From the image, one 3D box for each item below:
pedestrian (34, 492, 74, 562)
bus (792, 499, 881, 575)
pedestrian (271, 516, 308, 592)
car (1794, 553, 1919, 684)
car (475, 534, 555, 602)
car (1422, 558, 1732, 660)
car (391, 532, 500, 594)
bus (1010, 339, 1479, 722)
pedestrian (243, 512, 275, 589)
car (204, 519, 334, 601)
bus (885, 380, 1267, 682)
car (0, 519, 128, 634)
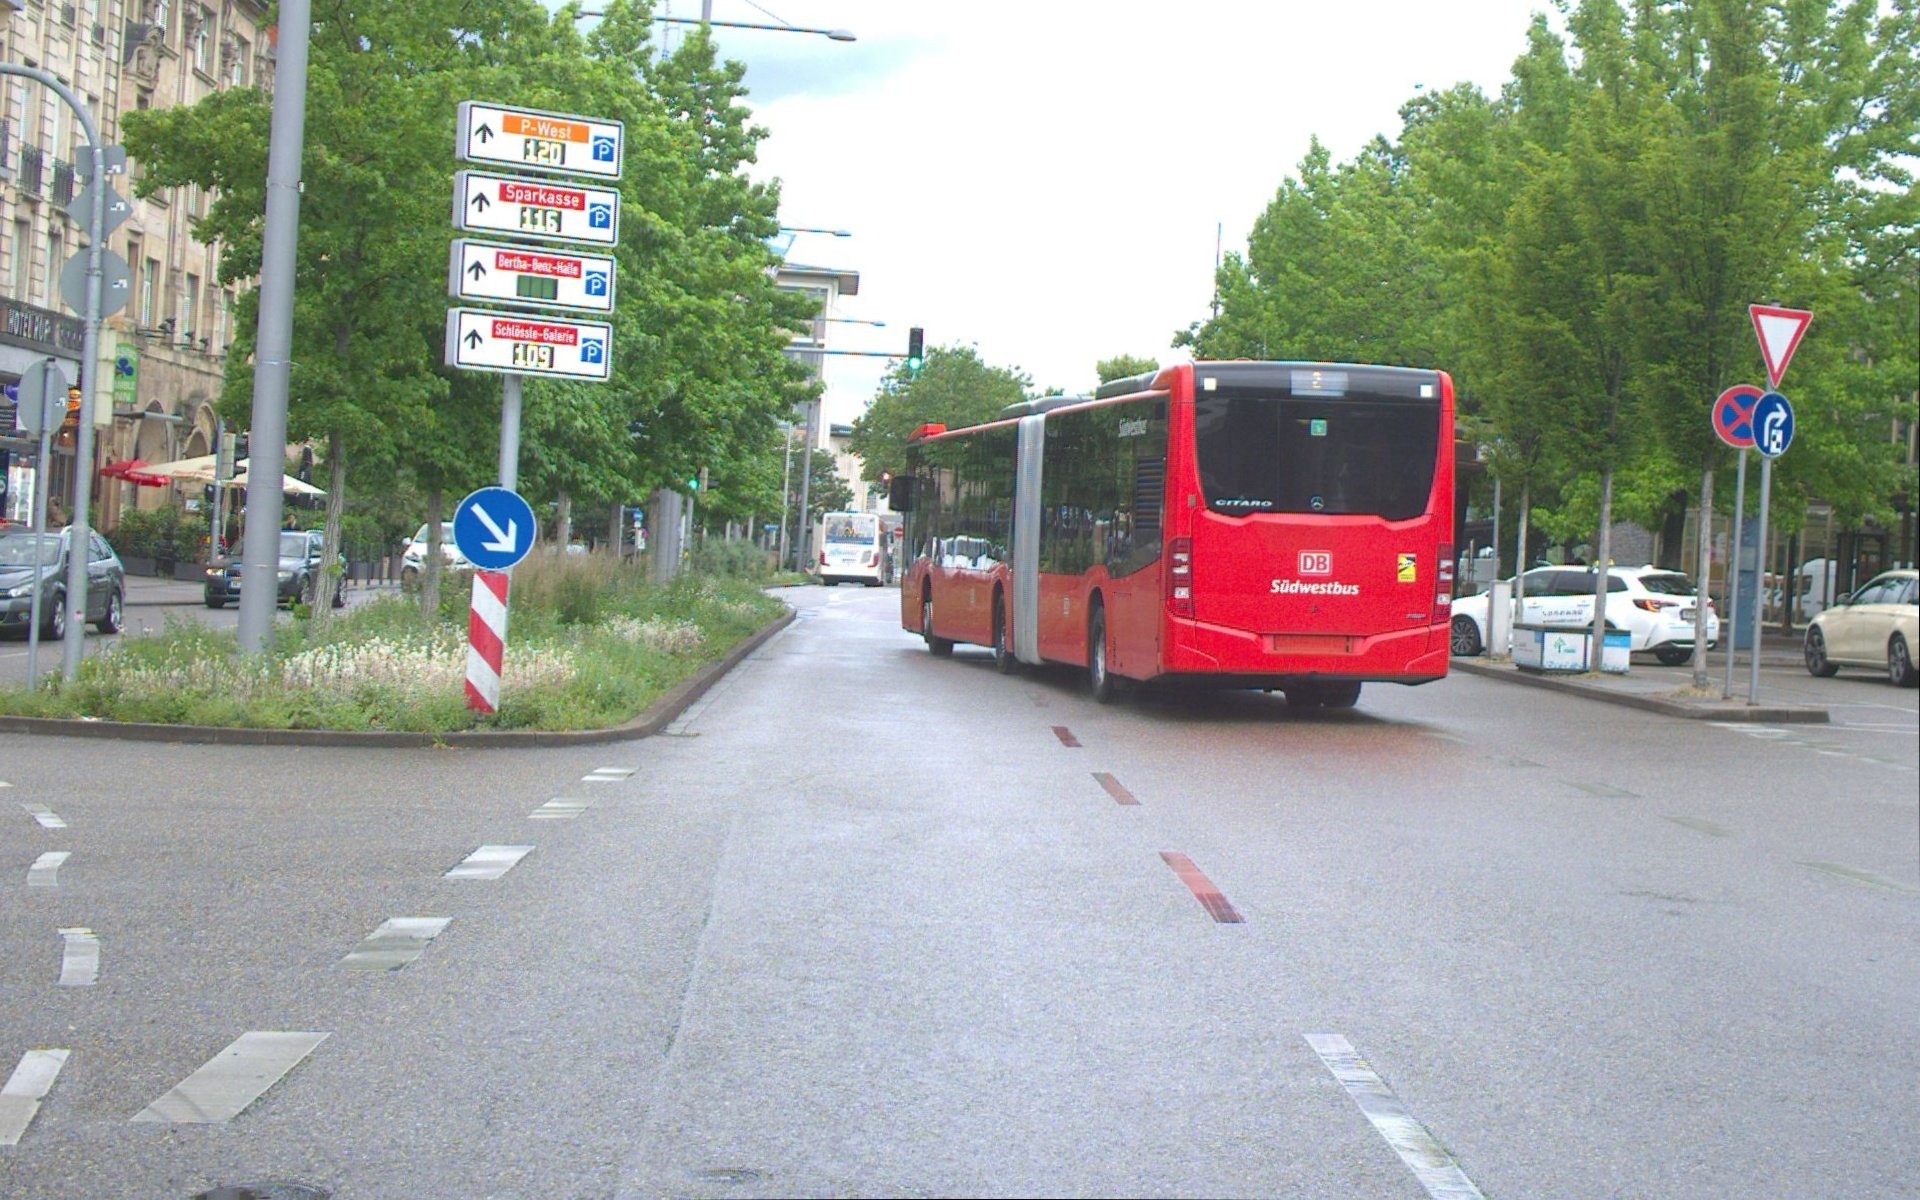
[{"bbox_3d":[-19.674,-1.593,74.626,0.661,1.505,0.519,1,1,-38],"label":"pedestrian"},{"bbox_3d":[-5.578,-2.856,155.863,3.760,3.198,15.527,1,1,-2],"label":"bus"},{"bbox_3d":[-15.142,-1.046,77.616,0.674,1.696,0.634,2,1,-1],"label":"pedestrian"},{"bbox_3d":[12.620,0.228,44.296,1.993,1.594,4.824,1,1,-7],"label":"car"},{"bbox_3d":[-12.000,-0.883,92.957,1.993,1.752,4.001,1,1,-6],"label":"car"},{"bbox_3d":[9.113,0.106,51.063,1.774,1.380,4.366,0,1,-41],"label":"car"},{"bbox_3d":[-11.895,-0.864,79.667,1.755,1.364,4.060,2,1,2],"label":"car"},{"bbox_3d":[2.462,-0.652,32.939,2.742,3.163,8.122,1,1,-8],"label":"bus"},{"bbox_3d":[-15.817,-1.115,77.563,0.575,1.726,0.609,2,1,-1],"label":"pedestrian"},{"bbox_3d":[-12.439,-0.745,62.044,1.754,1.364,4.061,1,2,-4],"label":"car"},{"bbox_3d":[1.138,-0.821,41.729,2.742,3.163,10.198,1,1,-9],"label":"bus"},{"bbox_3d":[-12.379,-0.340,45.196,1.755,1.436,4.060,2,1,2],"label":"car"}]
